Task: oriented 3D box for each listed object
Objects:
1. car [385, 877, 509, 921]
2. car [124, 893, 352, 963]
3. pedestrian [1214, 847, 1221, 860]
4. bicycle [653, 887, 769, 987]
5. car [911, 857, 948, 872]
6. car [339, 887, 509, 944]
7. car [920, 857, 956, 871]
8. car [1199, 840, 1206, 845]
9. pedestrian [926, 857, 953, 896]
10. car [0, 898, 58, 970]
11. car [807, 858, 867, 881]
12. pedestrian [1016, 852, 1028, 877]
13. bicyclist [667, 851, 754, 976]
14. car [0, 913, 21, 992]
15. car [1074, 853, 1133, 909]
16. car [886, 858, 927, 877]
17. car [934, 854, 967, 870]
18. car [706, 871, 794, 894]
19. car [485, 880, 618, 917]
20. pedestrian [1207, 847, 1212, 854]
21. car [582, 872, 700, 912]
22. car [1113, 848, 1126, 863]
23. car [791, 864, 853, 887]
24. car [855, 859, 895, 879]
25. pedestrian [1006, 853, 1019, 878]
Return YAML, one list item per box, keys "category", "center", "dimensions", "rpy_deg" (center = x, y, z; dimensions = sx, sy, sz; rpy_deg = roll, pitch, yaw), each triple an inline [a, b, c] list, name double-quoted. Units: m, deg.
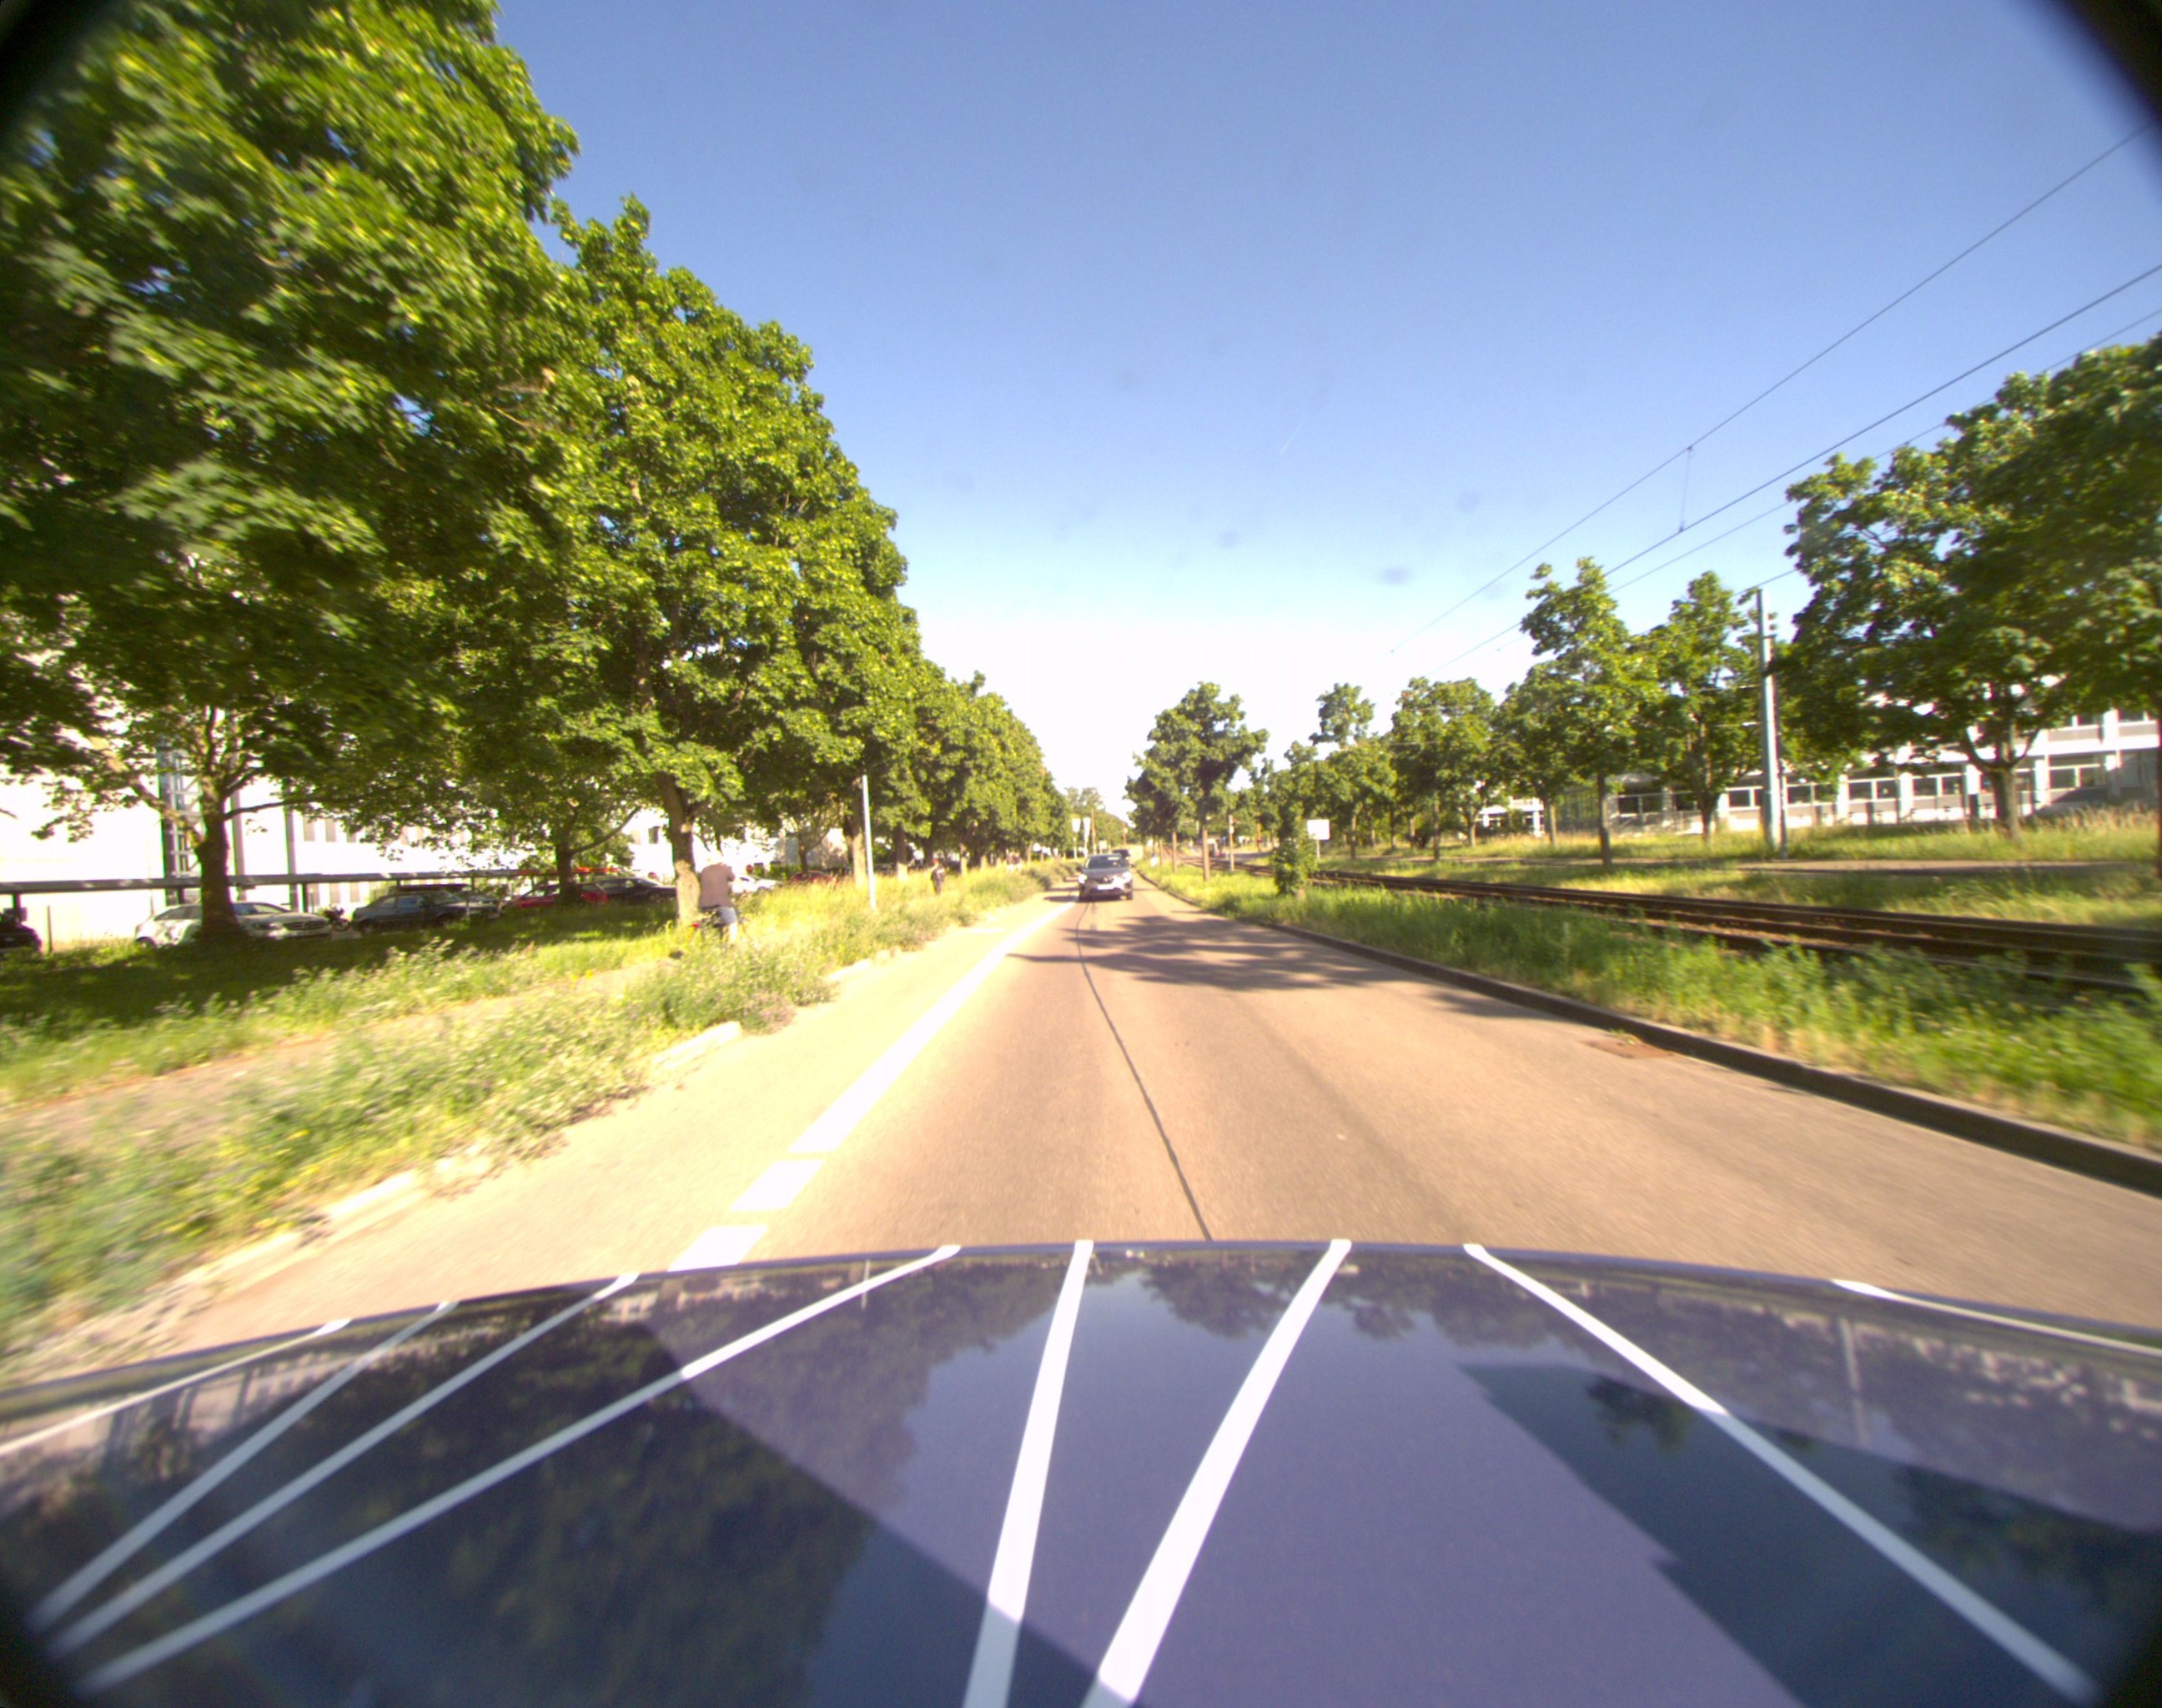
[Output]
- category: "car"
  center: [-32.908, 2.311, 39.524]
  dimensions: [4.760, 1.938, 1.974]
  rpy_deg: [-3, 0, 2]
- category: "car"
  center: [-22.071, 1.924, 19.981]
  dimensions: [4.174, 1.423, 1.825]
  rpy_deg: [-4, 1, 6]
- category: "pedestrian"
  center: [19.443, -0.040, 108.324]
  dimensions: [0.785, 1.741, 0.782]
  rpy_deg: [-4, 1, 3]
- category: "bicycle"
  center: [-5.319, 1.139, 11.094]
  dimensions: [0.484, 1.197, 2.144]
  rpy_deg: [-3, 0, 3]
- category: "car"
  center: [-18.286, 1.256, 91.779]
  dimensions: [4.537, 1.506, 1.851]
  rpy_deg: [-3, 1, 39]
- category: "car"
  center: [-21.450, 1.977, 24.924]
  dimensions: [4.004, 1.516, 1.706]
  rpy_deg: [-3, 0, -1]
- category: "car"
  center: [-18.027, 1.277, 95.718]
  dimensions: [4.537, 1.440, 1.851]
  rpy_deg: [-3, 1, 39]
- category: "car"
  center: [41.640, -3.989, 260.570]
  dimensions: [1.701, 1.575, 3.457]
  rpy_deg: [-2, 0, 3]
- category: "pedestrian"
  center: [-5.823, 0.919, 31.229]
  dimensions: [0.826, 1.560, 0.762]
  rpy_deg: [-4, 1, 4]
- category: "car"
  center: [-33.429, 2.449, 22.205]
  dimensions: [4.595, 2.002, 1.958]
  rpy_deg: [-3, 1, 4]
- category: "car"
  center: [-19.766, 1.225, 61.703]
  dimensions: [4.348, 1.690, 1.765]
  rpy_deg: [-2, 0, -7]
- category: "pedestrian"
  center: [-4.726, 0.843, 60.753]
  dimensions: [0.709, 1.907, 0.817]
  rpy_deg: [-4, 1, 4]
- category: "bicyclist"
  center: [-5.356, 0.830, 11.043]
  dimensions: [0.684, 1.710, 0.902]
  rpy_deg: [-3, 1, 3]
- category: "car"
  center: [-22.269, 1.956, 13.685]
  dimensions: [4.365, 1.450, 1.689]
  rpy_deg: [-3, 0, 6]
- category: "car"
  center: [0.800, 0.830, 25.621]
  dimensions: [1.750, 1.585, 4.247]
  rpy_deg: [-3, 1, 3]
- category: "car"
  center: [-18.467, 1.459, 80.101]
  dimensions: [1.922, 1.741, 5.442]
  rpy_deg: [-4, 1, -39]
- category: "car"
  center: [-18.292, 1.124, 106.315]
  dimensions: [2.083, 1.865, 5.173]
  rpy_deg: [-4, 1, -41]
- category: "car"
  center: [-20.816, 1.783, 47.887]
  dimensions: [4.709, 1.263, 1.808]
  rpy_deg: [-2, -1, 0]
- category: "car"
  center: [-21.931, 1.836, 31.585]
  dimensions: [4.301, 1.316, 1.941]
  rpy_deg: [-3, -1, 7]
- category: "pedestrian"
  center: [20.682, -0.566, 122.698]
  dimensions: [0.650, 1.242, 0.681]
  rpy_deg: [-1, 1, -5]
- category: "car"
  center: [-20.981, 1.773, 36.359]
  dimensions: [4.403, 1.587, 1.884]
  rpy_deg: [-3, 0, -1]
- category: "car"
  center: [4.807, 0.227, 94.857]
  dimensions: [1.555, 1.765, 3.457]
  rpy_deg: [-2, 0, 3]
- category: "car"
  center: [-20.101, 1.663, 59.136]
  dimensions: [4.243, 1.527, 1.765]
  rpy_deg: [-2, 0, -7]
- category: "car"
  center: [-19.453, 1.440, 71.702]
  dimensions: [3.977, 1.629, 1.727]
  rpy_deg: [-3, 1, 43]
- category: "pedestrian"
  center: [-5.499, 0.909, 60.811]
  dimensions: [0.709, 1.919, 0.817]
  rpy_deg: [-3, 1, 8]
